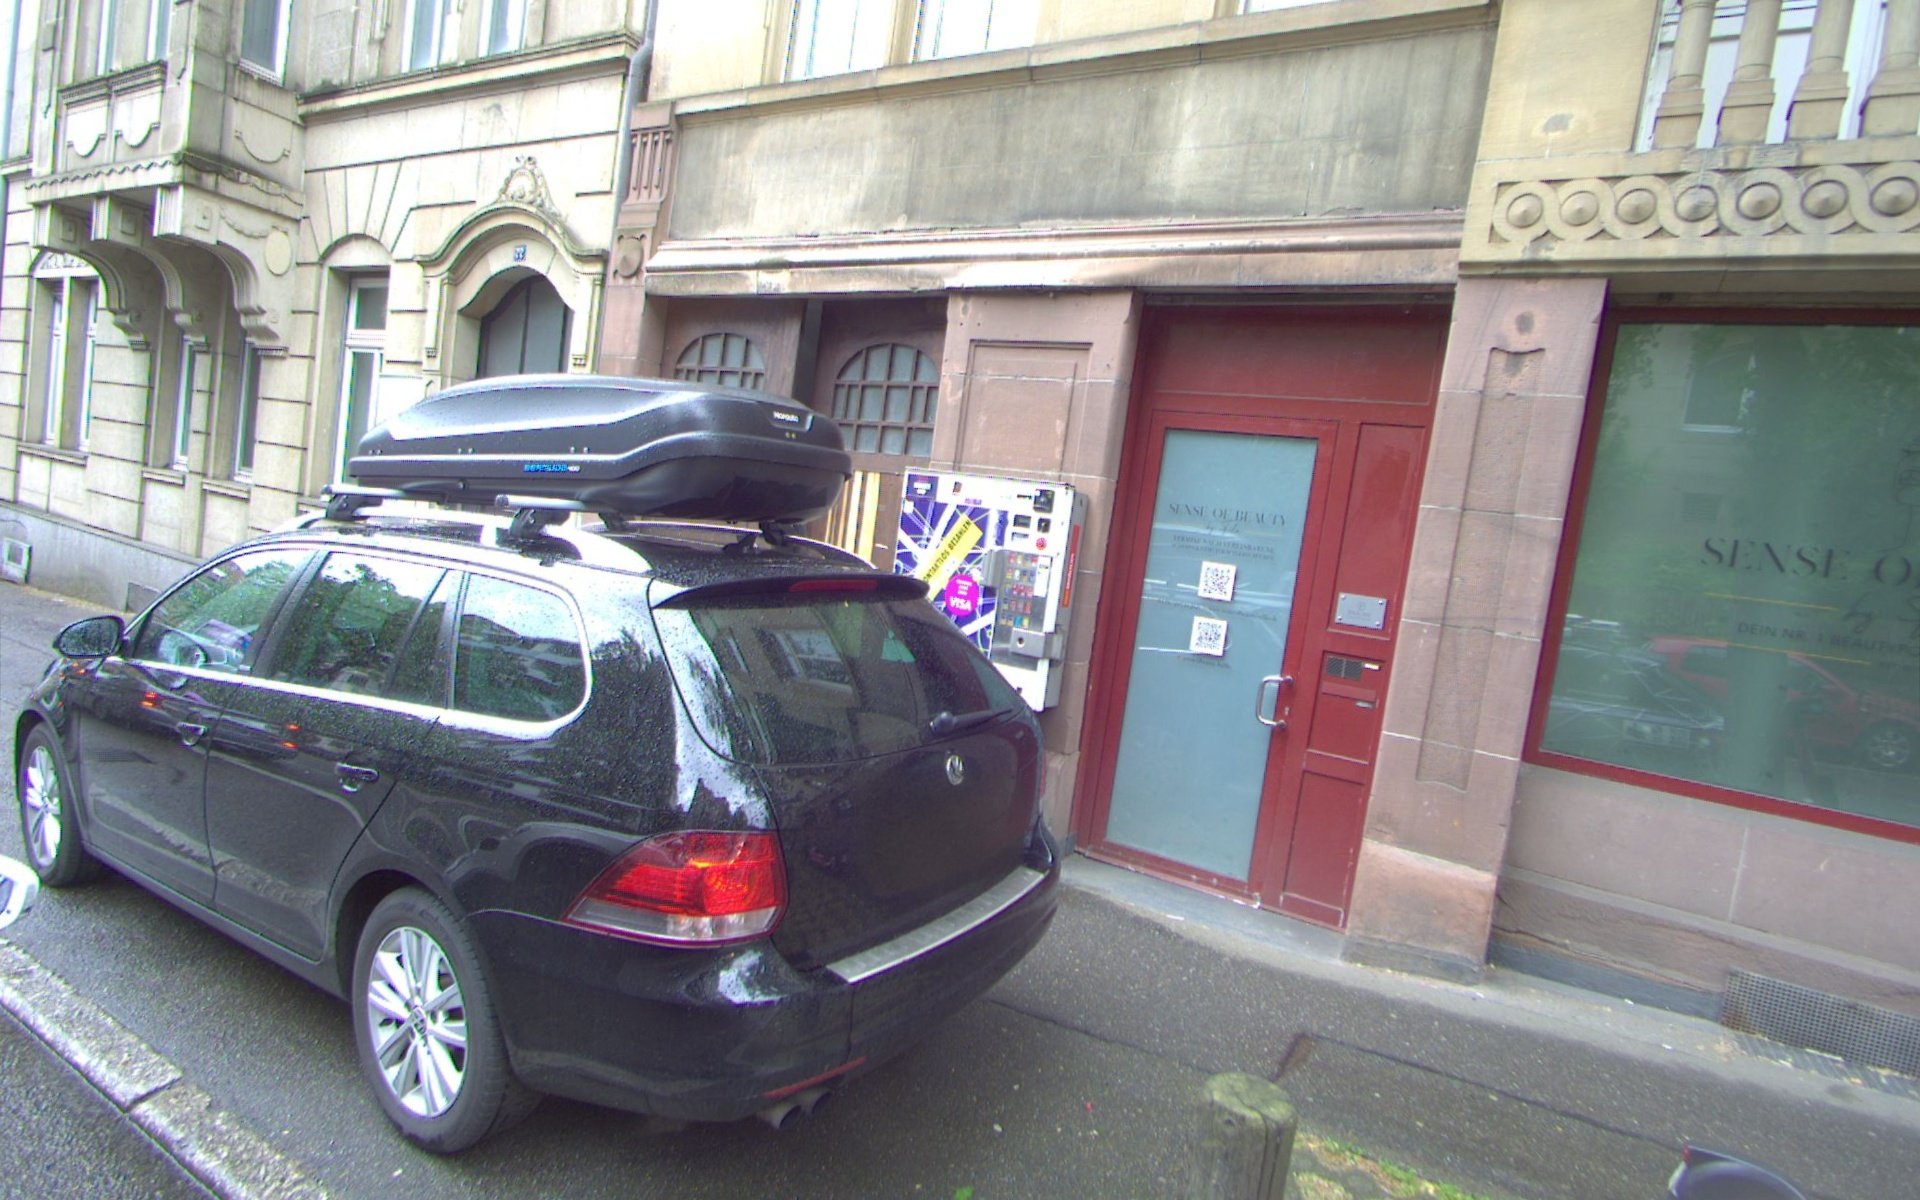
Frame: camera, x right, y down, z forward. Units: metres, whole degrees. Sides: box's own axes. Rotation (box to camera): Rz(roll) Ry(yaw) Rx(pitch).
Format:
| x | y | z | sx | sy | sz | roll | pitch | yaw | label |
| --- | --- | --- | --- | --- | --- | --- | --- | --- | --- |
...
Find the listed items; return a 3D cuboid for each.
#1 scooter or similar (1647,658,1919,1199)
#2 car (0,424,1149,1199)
| x | y | z | sx | sy | sz | roll | pitch | yaw | label |
| --- | --- | --- | --- | --- | --- | --- | --- | --- | --- |
| 2.158 | 0.859 | 1.954 | 1.183 | 1.336 | 0.593 | 7 | 3 | 32 | scooter or similar |
| -1.632 | 0.360 | 3.507 | 4.031 | 1.675 | 1.757 | 7 | 6 | 32 | car |
